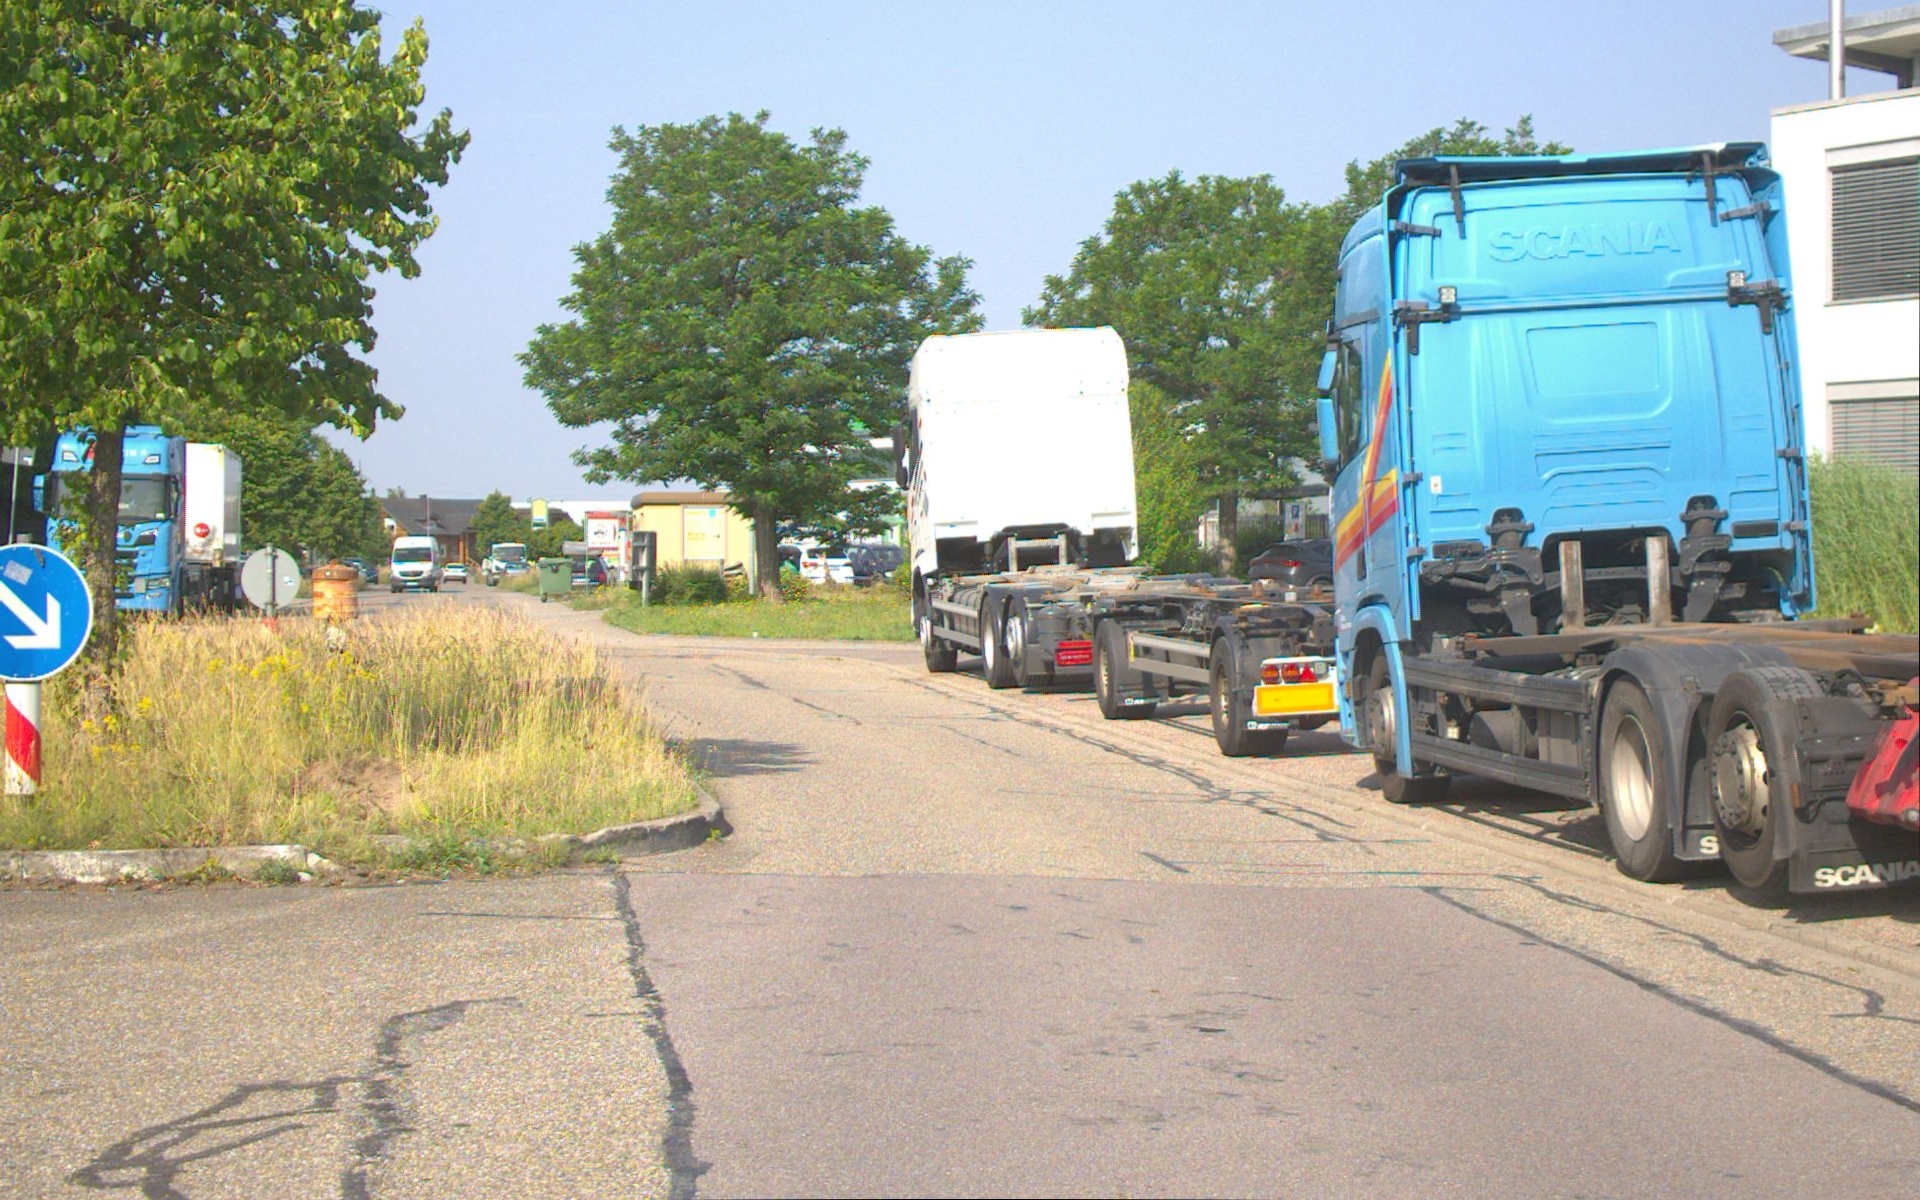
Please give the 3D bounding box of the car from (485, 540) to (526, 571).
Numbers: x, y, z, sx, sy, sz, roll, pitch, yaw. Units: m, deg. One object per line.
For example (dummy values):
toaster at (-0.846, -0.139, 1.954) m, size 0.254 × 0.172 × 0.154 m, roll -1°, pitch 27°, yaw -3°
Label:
car at (-27.973, -2.752, 211.363) m, size 1.770 × 1.809 × 4.001 m, roll 2°, pitch 0°, yaw -18°

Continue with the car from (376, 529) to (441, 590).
car at (-25.451, -1.815, 158.480) m, size 2.214 × 2.677 × 6.855 m, roll 2°, pitch 0°, yaw -14°

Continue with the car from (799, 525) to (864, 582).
car at (-3.908, -1.392, 104.260) m, size 1.717 × 1.612 × 4.001 m, roll 2°, pitch 0°, yaw -5°

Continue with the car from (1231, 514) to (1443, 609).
car at (7.671, -0.776, 69.785) m, size 3.988 × 1.761 × 1.999 m, roll 2°, pitch -1°, yaw -39°

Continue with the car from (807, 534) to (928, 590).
car at (-2.327, -0.938, 85.584) m, size 1.667 × 1.325 × 3.664 m, roll 2°, pitch 0°, yaw -24°

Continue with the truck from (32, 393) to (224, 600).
truck at (-16.829, -1.967, 70.122) m, size 2.824 × 3.813 × 9.675 m, roll 2°, pitch 0°, yaw -8°

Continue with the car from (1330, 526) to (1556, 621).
car at (9.419, -0.497, 66.992) m, size 4.074 × 1.695 × 1.765 m, roll 2°, pitch 0°, yaw -29°

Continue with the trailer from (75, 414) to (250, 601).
trailer at (-18.073, -1.954, 78.561) m, size 2.830 × 3.830 × 12.039 m, roll 2°, pitch 0°, yaw -8°

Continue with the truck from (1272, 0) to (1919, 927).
truck at (4.194, -0.655, 17.648) m, size 2.887 × 3.523 × 9.757 m, roll -4°, pitch 1°, yaw -7°

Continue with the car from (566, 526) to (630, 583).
car at (-11.780, -1.452, 111.670) m, size 1.791 × 1.744 × 4.001 m, roll 2°, pitch 0°, yaw -9°

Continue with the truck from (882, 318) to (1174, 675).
truck at (0.743, -1.220, 41.350) m, size 2.745 × 3.968 × 4.001 m, roll -3°, pitch 1°, yaw -8°

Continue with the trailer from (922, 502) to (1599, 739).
trailer at (2.065, 0.020, 32.399) m, size 2.745 × 1.568 × 16.176 m, roll -2°, pitch 1°, yaw -8°
